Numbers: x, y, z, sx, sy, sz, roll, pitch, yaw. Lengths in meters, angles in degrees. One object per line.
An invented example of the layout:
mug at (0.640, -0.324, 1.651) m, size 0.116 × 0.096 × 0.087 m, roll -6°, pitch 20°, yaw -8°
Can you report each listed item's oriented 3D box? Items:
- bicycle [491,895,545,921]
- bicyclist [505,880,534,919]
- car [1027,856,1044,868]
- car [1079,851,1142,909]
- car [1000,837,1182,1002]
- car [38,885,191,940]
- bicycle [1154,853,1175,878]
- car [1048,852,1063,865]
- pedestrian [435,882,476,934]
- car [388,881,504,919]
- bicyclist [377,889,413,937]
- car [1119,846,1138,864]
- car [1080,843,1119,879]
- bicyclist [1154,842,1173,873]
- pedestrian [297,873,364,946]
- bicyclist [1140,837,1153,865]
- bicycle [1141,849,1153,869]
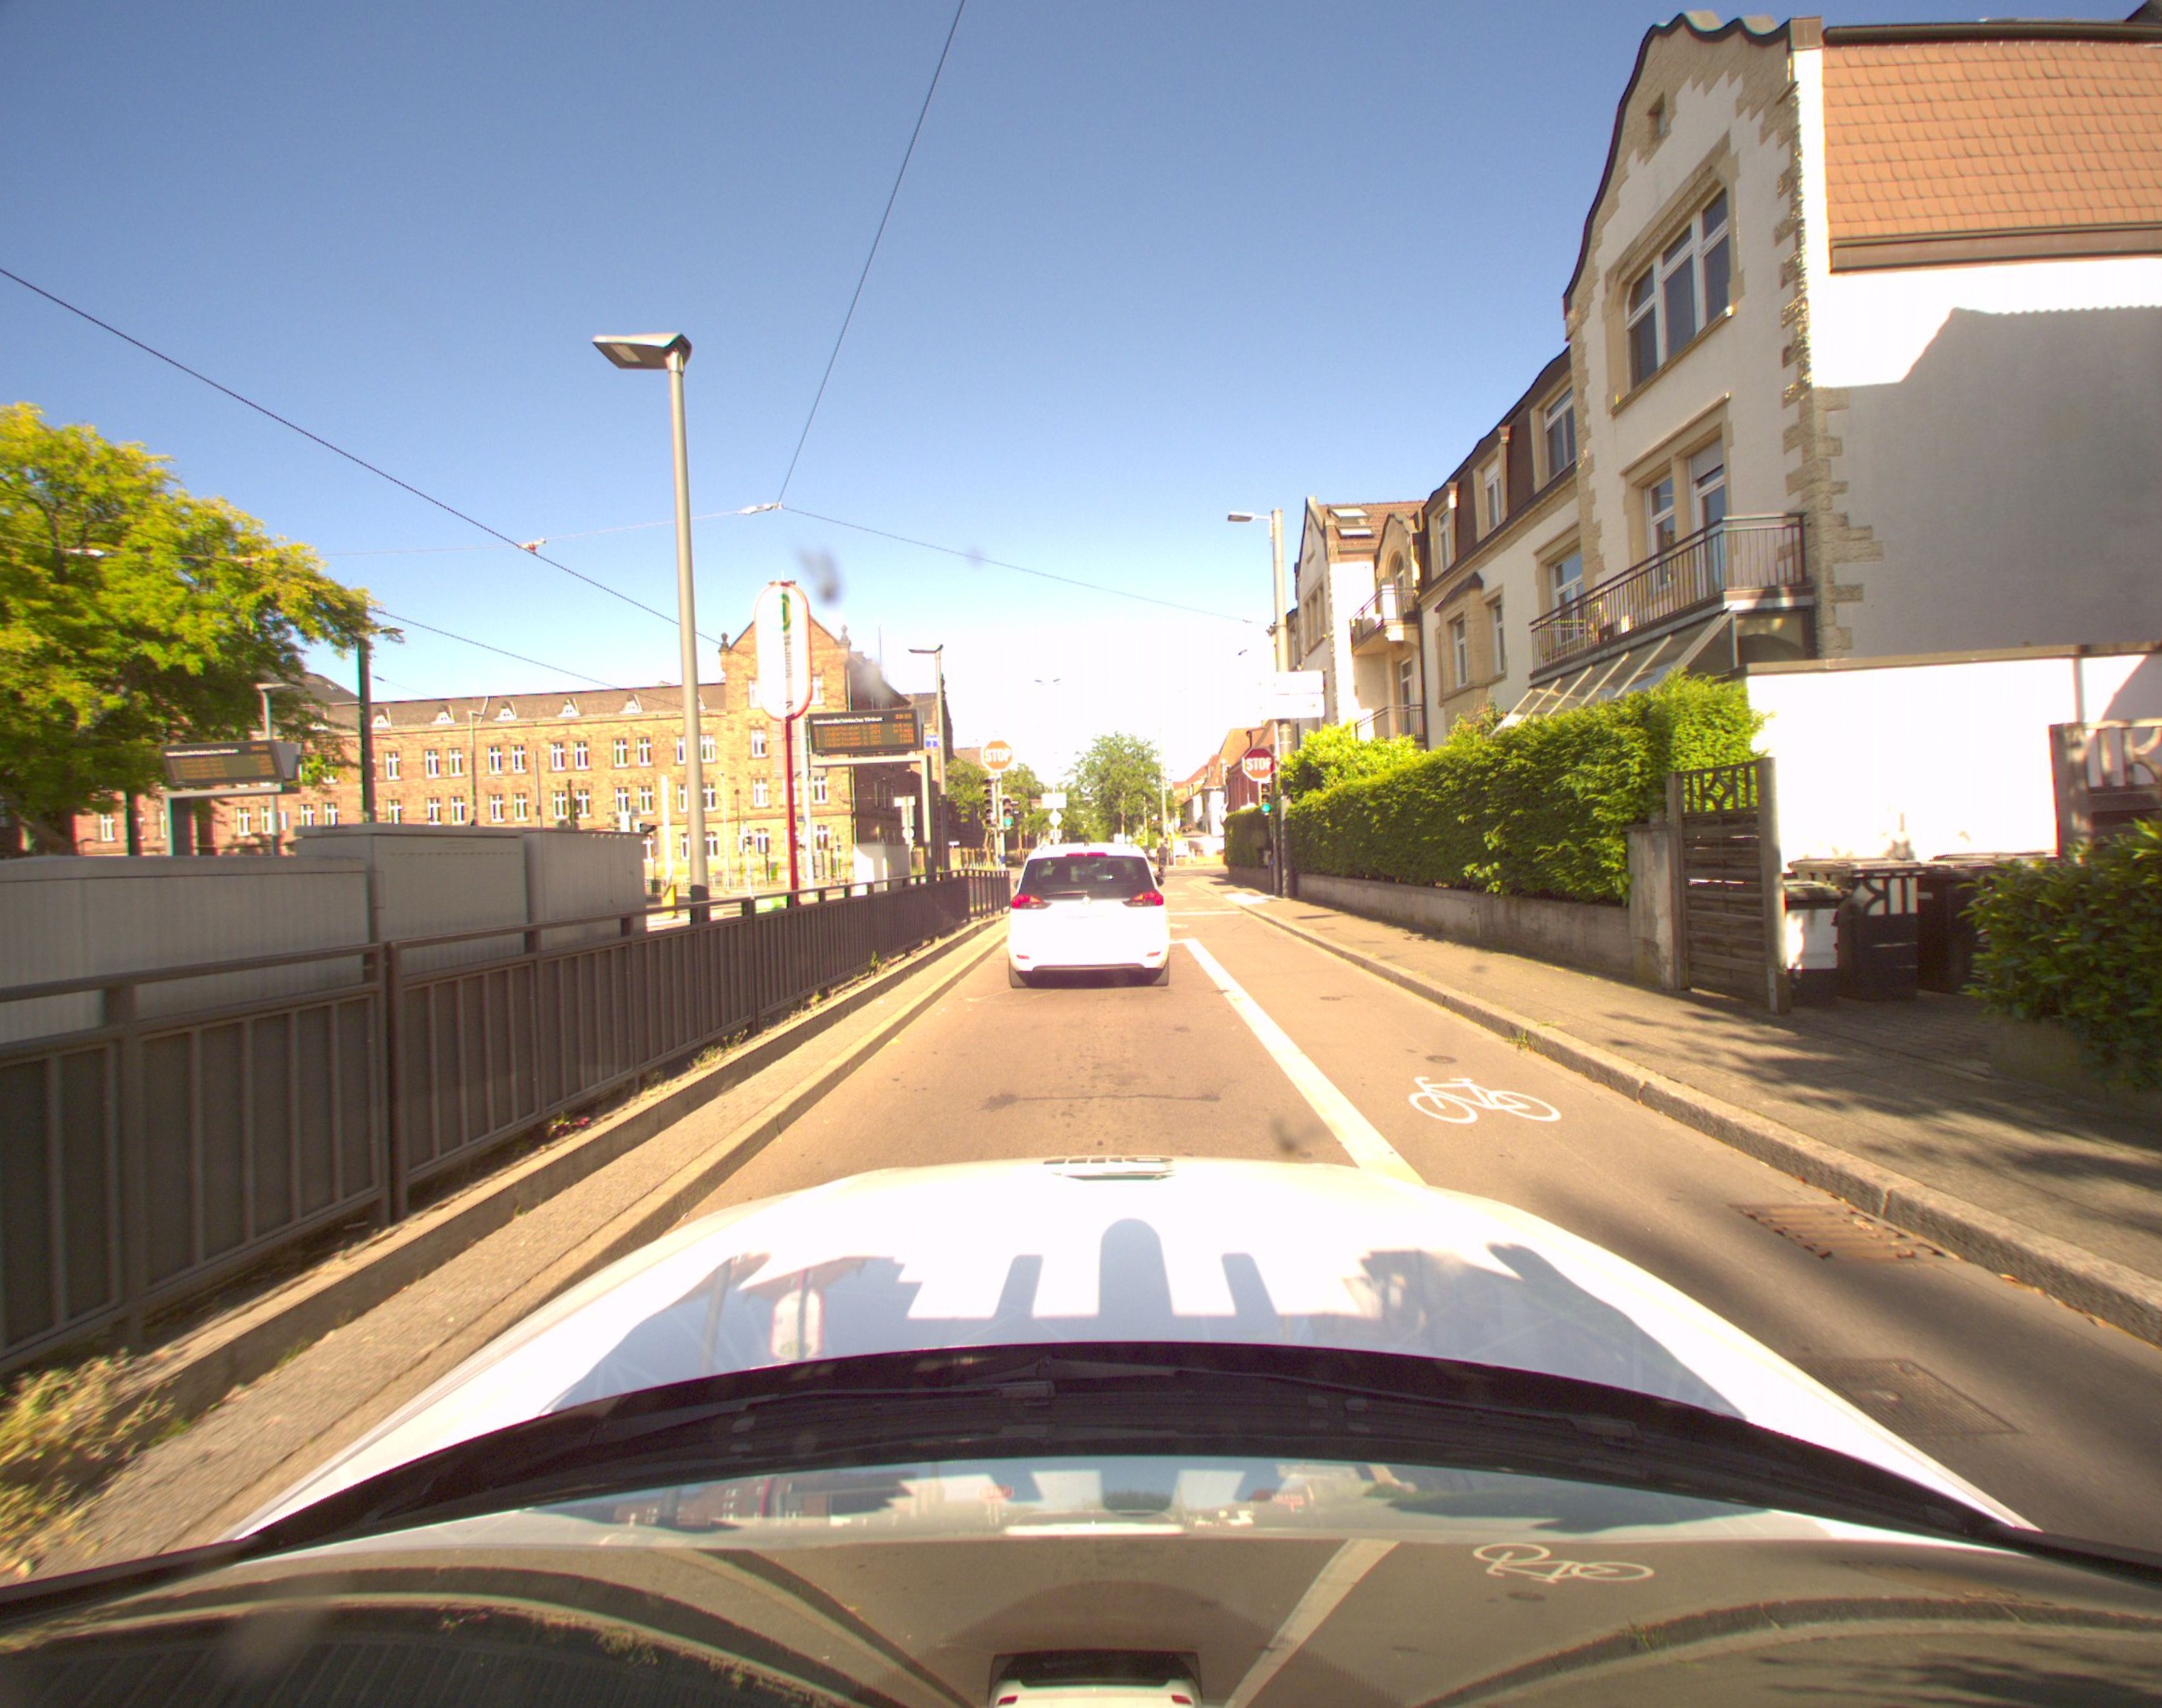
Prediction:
bicycle at (-24.338, 2.338, 35.236) m, size 1.728 × 1.013 × 0.802 m, roll -2°, pitch 0°, yaw 2°
bicyclist at (-24.302, 1.970, 35.238) m, size 0.631 × 1.635 × 0.802 m, roll -2°, pitch 0°, yaw 2°
car at (-5.607, 0.984, 101.322) m, size 1.574 × 1.441 × 3.589 m, roll -2°, pitch 0°, yaw 5°
car at (0.913, 0.667, 23.189) m, size 1.579 × 1.420 × 3.905 m, roll -3°, pitch 0°, yaw 4°
car at (0.203, 0.685, 10.411) m, size 1.827 × 1.642 × 3.921 m, roll -2°, pitch 0°, yaw 3°
car at (-48.989, 2.948, 41.368) m, size 5.011 × 2.452 × 2.261 m, roll -2°, pitch 0°, yaw 1°
bicycle at (4.024, 0.561, 39.568) m, size 0.826 × 1.154 × 2.095 m, roll -2°, pitch 0°, yaw 2°
car at (-3.795, 0.670, 122.300) m, size 1.885 × 1.783 × 3.882 m, roll -2°, pitch 0°, yaw 2°
pedestrian at (-19.868, 1.717, 25.875) m, size 0.568 × 1.569 × 0.836 m, roll -2°, pitch 1°, yaw 23°
car at (-29.832, 2.160, 38.340) m, size 4.046 × 1.522 × 1.879 m, roll -2°, pitch 0°, yaw 4°
bicyclist at (-20.840, 1.773, 24.745) m, size 0.692 × 1.383 × 0.530 m, roll -2°, pitch -1°, yaw -24°
car at (4.704, 0.118, 80.283) m, size 1.767 × 1.632 × 3.886 m, roll -2°, pitch 0°, yaw 5°
car at (0.971, 0.335, 40.784) m, size 1.769 × 1.632 × 3.883 m, roll -2°, pitch 0°, yaw 2°
bicyclist at (4.002, 0.169, 39.529) m, size 0.818 × 1.501 × 0.934 m, roll -2°, pitch 0°, yaw 2°
pedestrian at (-20.247, 1.473, 21.992) m, size 0.723 × 1.861 × 1.098 m, roll -2°, pitch 0°, yaw 5°
bicyclist at (3.909, -0.156, 48.684) m, size 0.682 × 1.634 × 1.017 m, roll -2°, pitch 0°, yaw 5°
bicycle at (3.932, 0.292, 48.670) m, size 0.682 × 1.157 × 1.621 m, roll -2°, pitch 0°, yaw 5°
